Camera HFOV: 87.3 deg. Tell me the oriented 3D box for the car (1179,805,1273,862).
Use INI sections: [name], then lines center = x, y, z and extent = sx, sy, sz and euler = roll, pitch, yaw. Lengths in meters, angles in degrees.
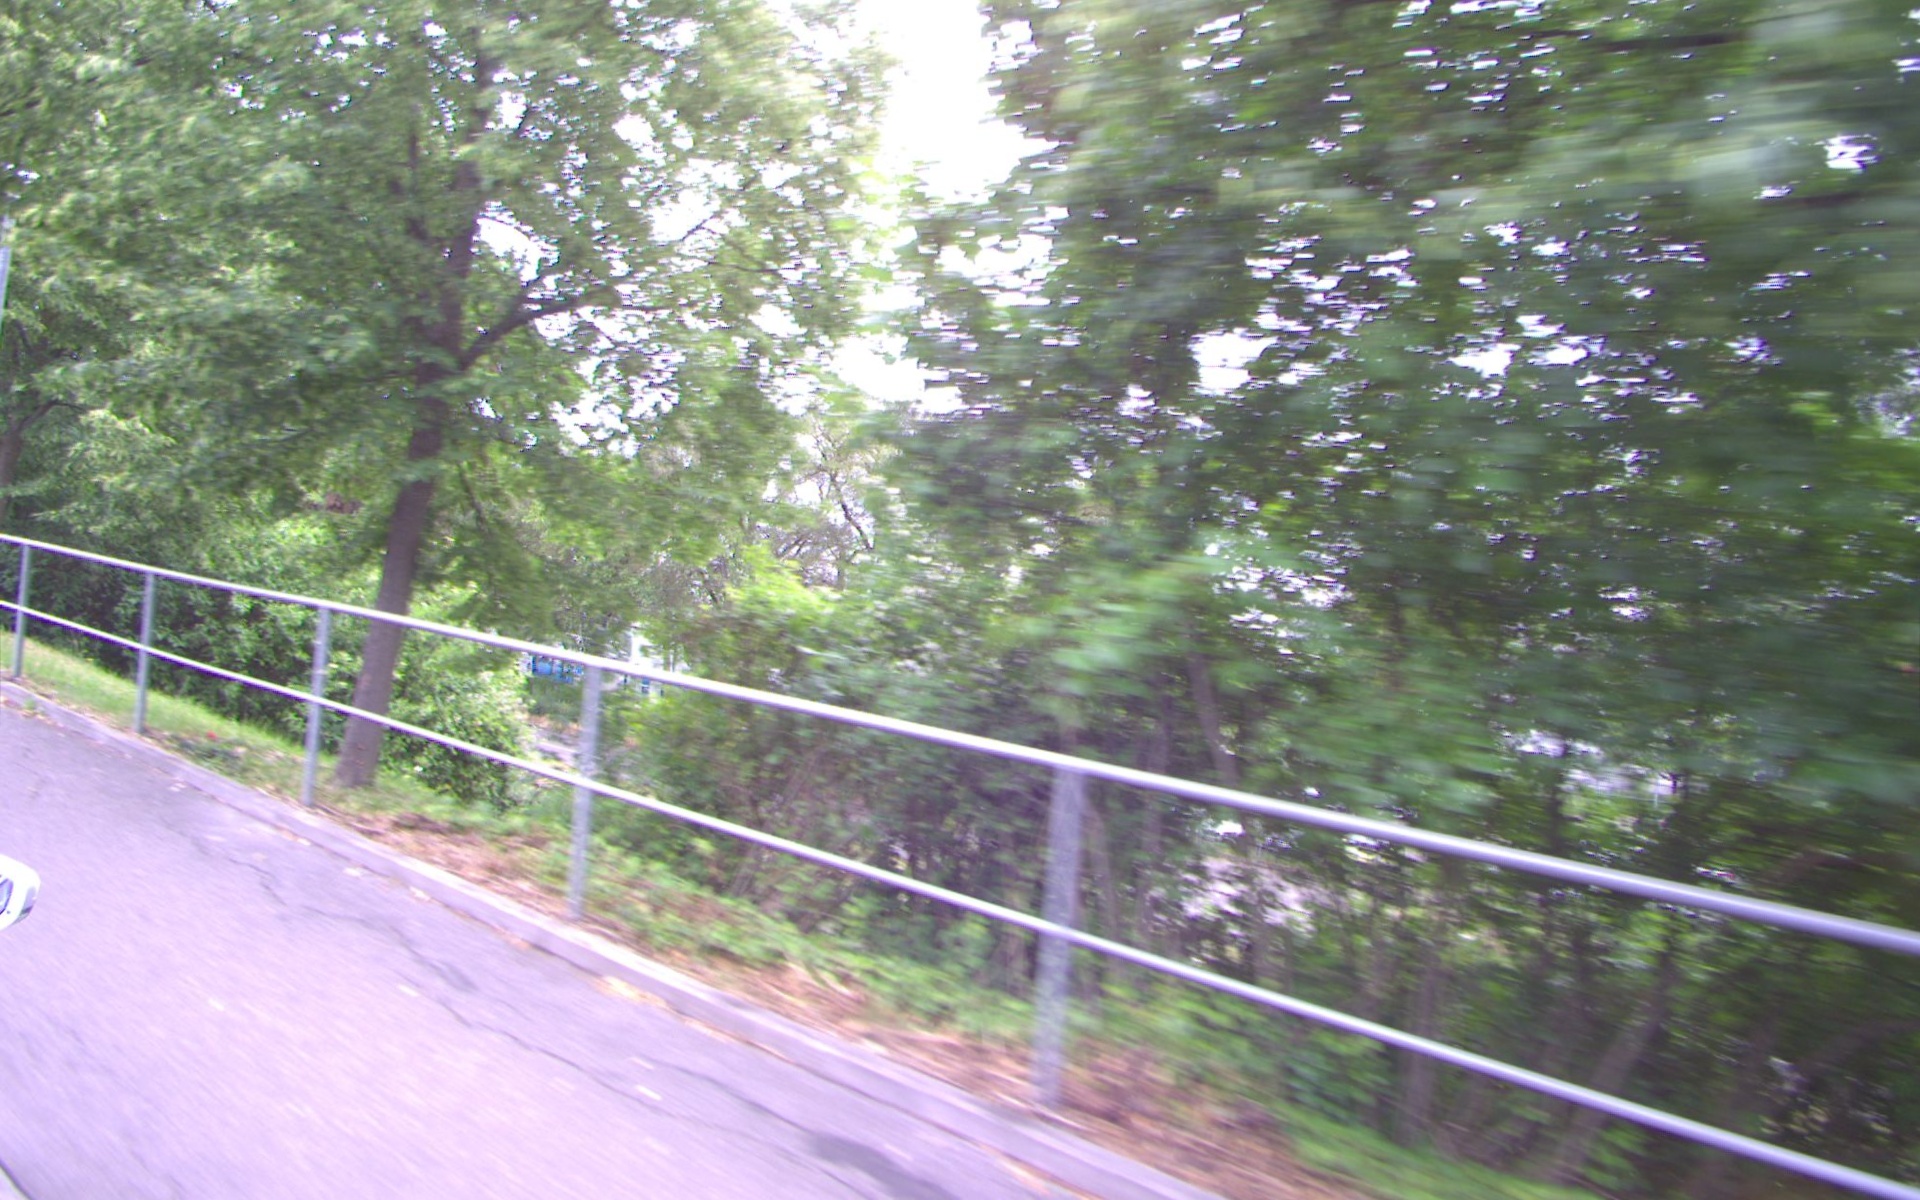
[car]
center = 10.489, 9.093, 39.464
extent = 1.800, 1.523, 4.327
euler = 6, -2, 39
